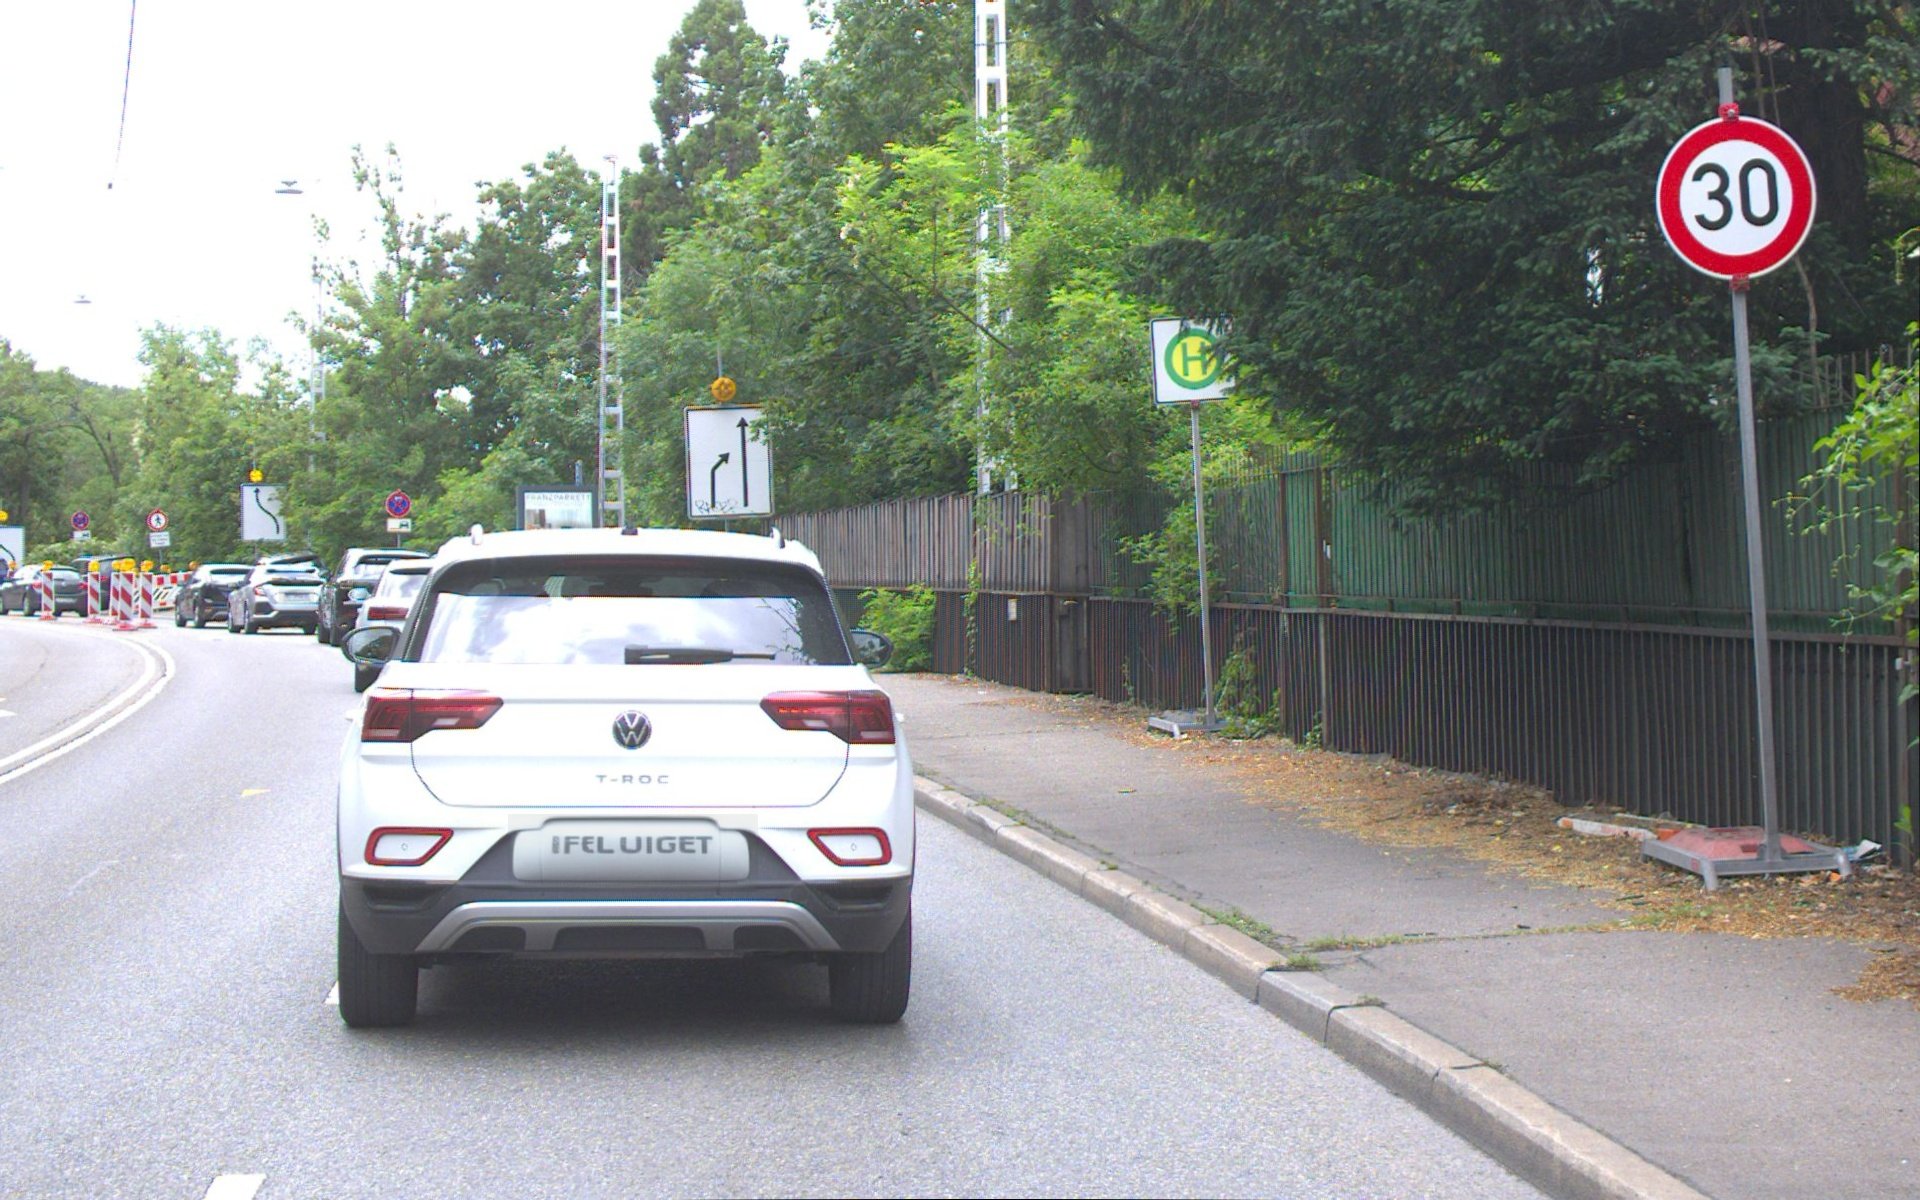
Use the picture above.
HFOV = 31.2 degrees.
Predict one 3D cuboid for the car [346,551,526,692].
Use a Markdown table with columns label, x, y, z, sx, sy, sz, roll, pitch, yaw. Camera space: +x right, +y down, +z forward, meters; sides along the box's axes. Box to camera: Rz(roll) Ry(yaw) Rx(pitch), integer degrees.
| label | x | y | z | sx | sy | sz | roll | pitch | yaw |
| --- | --- | --- | --- | --- | --- | --- | --- | --- | --- |
| car | -5.861 | 0.222 | 38.171 | 1.757 | 1.466 | 3.796 | 1 | 0 | -12 |

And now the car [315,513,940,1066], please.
| label | x | y | z | sx | sy | sz | roll | pitch | yaw |
| --- | --- | --- | --- | --- | --- | --- | --- | --- | --- |
| car | -1.259 | 0.534 | 11.665 | 1.757 | 1.550 | 3.796 | 1 | 0 | -10 |

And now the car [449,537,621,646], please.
| label | x | y | z | sx | sy | sz | roll | pitch | yaw |
| --- | --- | --- | --- | --- | --- | --- | --- | --- | --- |
| car | -5.944 | -0.105 | 47.690 | 1.993 | 1.409 | 4.151 | -1 | 0 | -12 |

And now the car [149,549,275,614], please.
| label | x | y | z | sx | sy | sz | roll | pitch | yaw |
| --- | --- | --- | --- | --- | --- | --- | --- | --- | --- |
| car | -17.422 | -0.415 | 79.940 | 1.993 | 1.445 | 4.151 | -1 | 0 | -25 |

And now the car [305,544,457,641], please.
| label | x | y | z | sx | sy | sz | roll | pitch | yaw |
| --- | --- | --- | --- | --- | --- | --- | --- | --- | --- |
| car | -9.781 | -0.152 | 57.868 | 1.993 | 1.551 | 4.152 | 0 | 1 | -17 |

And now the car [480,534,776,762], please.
| label | x | y | z | sx | sy | sz | roll | pitch | yaw |
| --- | --- | --- | --- | --- | --- | --- | --- | --- | --- |
| car | -2.604 | 0.336 | 26.200 | 1.757 | 1.604 | 3.796 | 1 | 0 | -13 |

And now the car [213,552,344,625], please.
| label | x | y | z | sx | sy | sz | roll | pitch | yaw |
| --- | --- | --- | --- | --- | --- | --- | --- | --- | --- |
| car | -13.981 | -0.223 | 70.382 | 1.993 | 1.445 | 4.151 | -1 | 0 | -20 |
